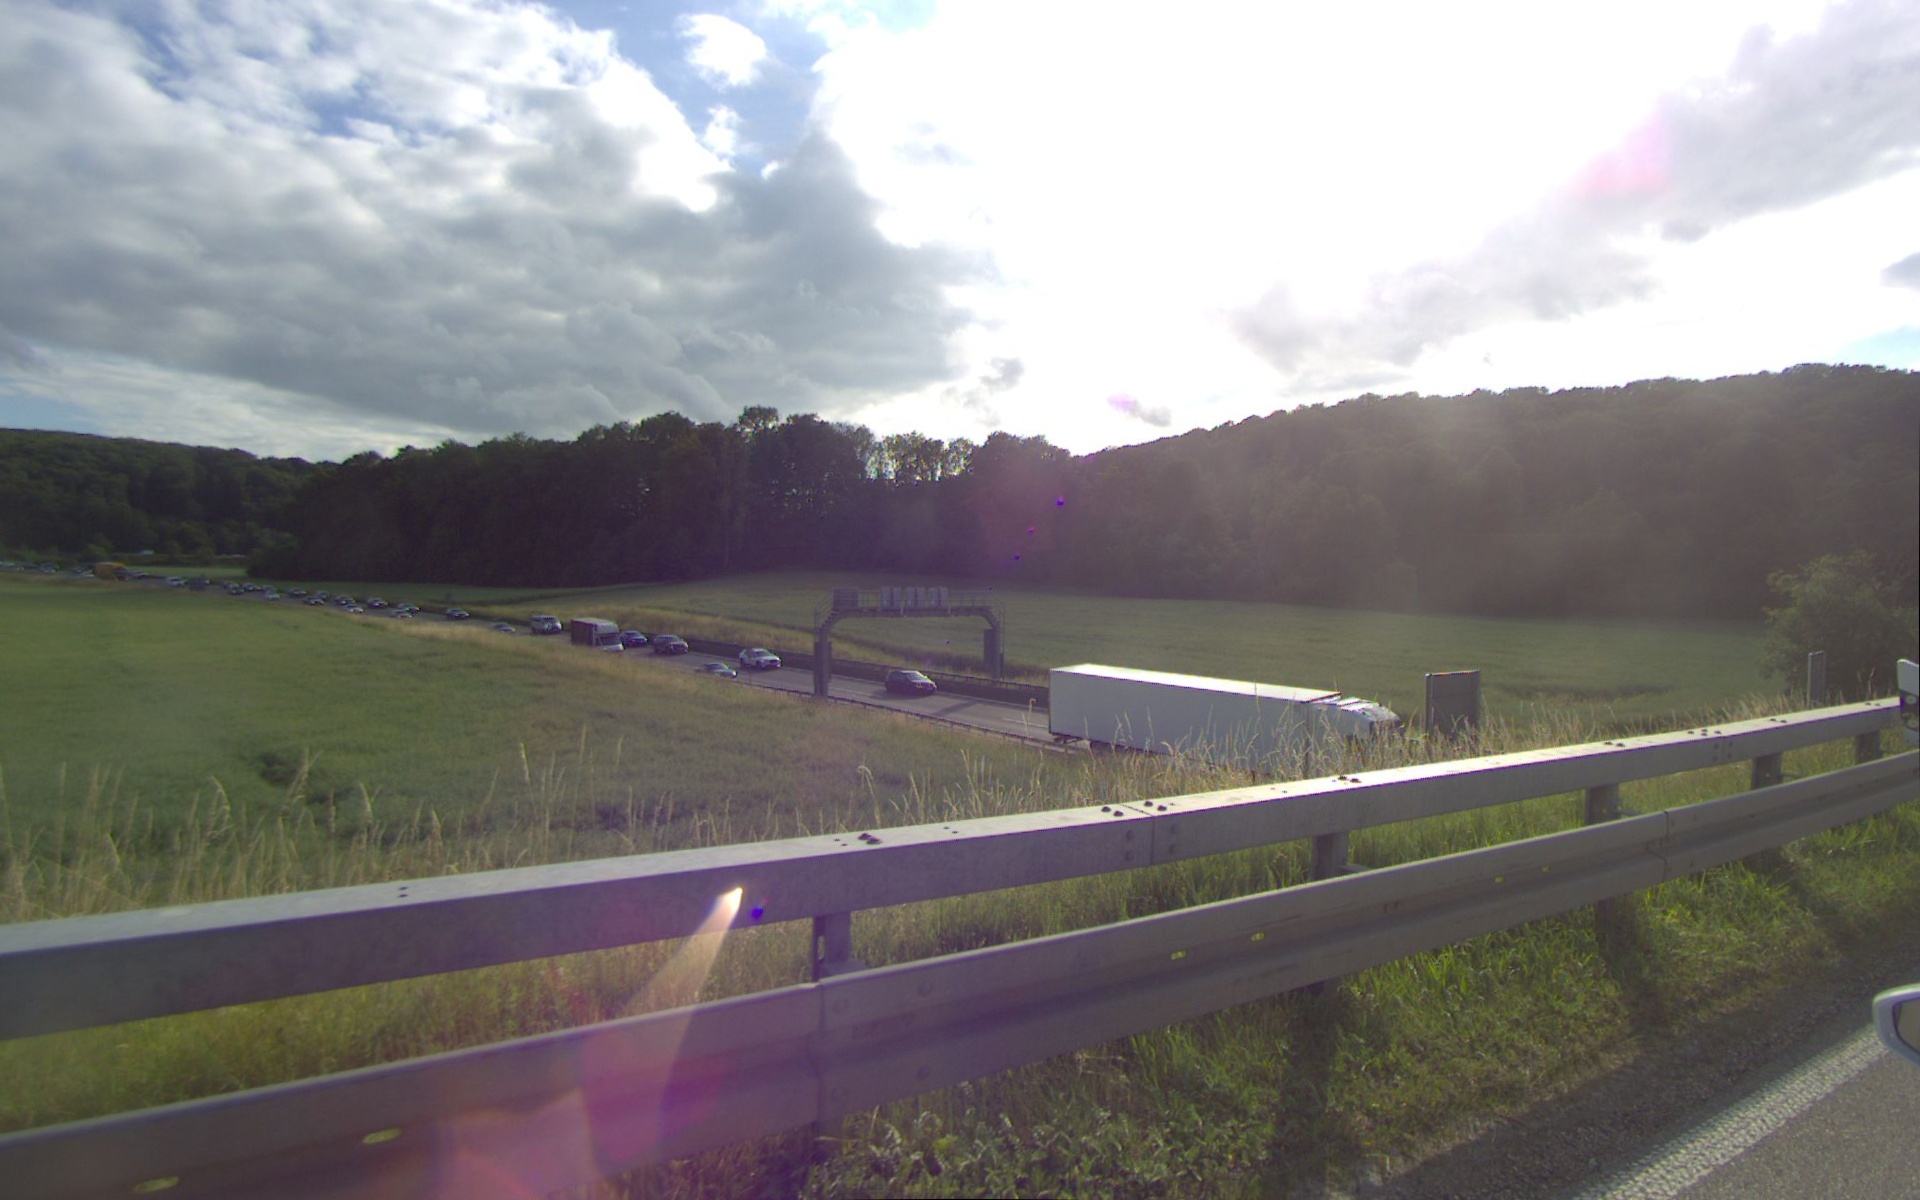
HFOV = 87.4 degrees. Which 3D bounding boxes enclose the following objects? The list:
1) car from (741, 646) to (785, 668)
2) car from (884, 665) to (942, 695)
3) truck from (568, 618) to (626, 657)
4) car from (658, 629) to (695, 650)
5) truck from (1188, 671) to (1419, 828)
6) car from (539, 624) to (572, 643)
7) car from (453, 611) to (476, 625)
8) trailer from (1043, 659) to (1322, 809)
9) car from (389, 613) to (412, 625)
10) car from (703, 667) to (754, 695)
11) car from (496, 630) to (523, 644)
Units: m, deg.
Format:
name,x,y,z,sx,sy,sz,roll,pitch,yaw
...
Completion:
name,x,y,z,sx,sy,sz,roll,pitch,yaw
car,-16.119,4.636,81.945,1.814,1.672,3.952,1,-1,-41
car,-3.155,5.308,67.145,1.809,1.555,3.953,2,1,-40
truck,-33.679,3.460,93.098,2.108,3.450,8.392,1,-2,-42
car,-26.584,3.668,94.131,1.814,1.672,3.951,1,1,-41
truck,12.857,5.388,38.294,3.003,4.529,7.964,-3,3,-39
car,-45.579,3.728,113.091,1.987,1.750,3.948,6,-2,-43
car,-68.203,2.439,138.191,1.790,1.608,3.948,2,1,-43
trailer,9.016,5.304,43.095,3.006,4.529,12.582,-3,3,-39
car,-76.071,2.616,136.577,1.815,1.462,3.949,1,1,-43
car,-17.122,5.950,74.207,1.975,1.736,3.951,1,-1,-42
car,-50.451,4.087,112.360,1.703,1.350,3.952,1,1,-41
